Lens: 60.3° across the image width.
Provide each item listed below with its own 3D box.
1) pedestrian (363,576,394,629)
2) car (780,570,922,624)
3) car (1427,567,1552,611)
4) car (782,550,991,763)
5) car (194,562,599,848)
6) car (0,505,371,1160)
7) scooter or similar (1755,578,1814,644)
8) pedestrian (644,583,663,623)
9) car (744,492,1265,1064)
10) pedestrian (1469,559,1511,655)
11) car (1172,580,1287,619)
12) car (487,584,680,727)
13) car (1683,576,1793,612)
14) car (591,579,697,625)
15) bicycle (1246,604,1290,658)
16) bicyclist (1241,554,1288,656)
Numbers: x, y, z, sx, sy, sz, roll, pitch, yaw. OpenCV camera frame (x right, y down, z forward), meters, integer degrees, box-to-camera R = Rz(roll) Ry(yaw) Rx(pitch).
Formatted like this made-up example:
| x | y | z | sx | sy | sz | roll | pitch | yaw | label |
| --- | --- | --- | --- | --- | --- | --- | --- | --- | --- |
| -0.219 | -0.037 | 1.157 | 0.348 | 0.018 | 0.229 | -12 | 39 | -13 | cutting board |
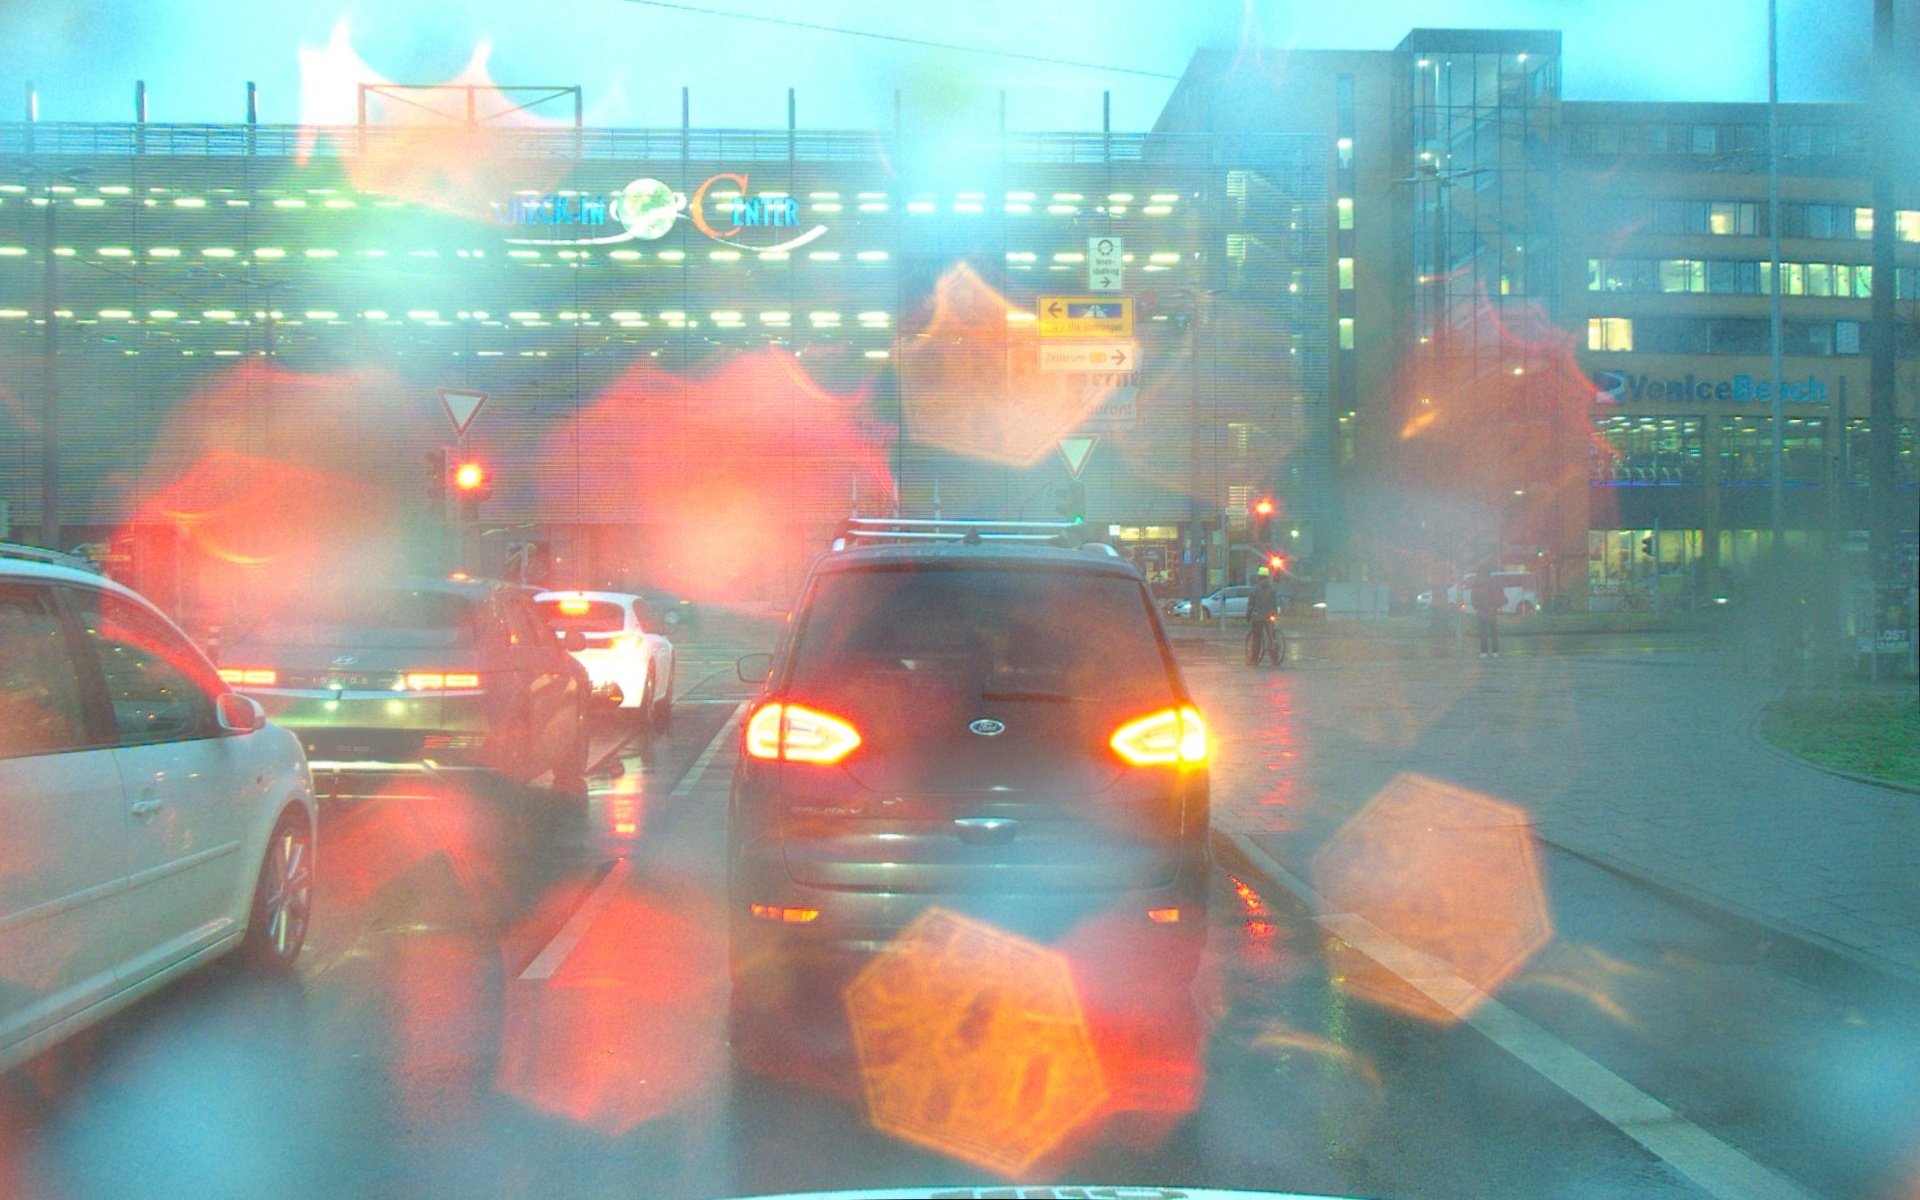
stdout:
| x | y | z | sx | sy | sz | roll | pitch | yaw | label |
| --- | --- | --- | --- | --- | --- | --- | --- | --- | --- |
| -27.349 | 0.120 | 77.830 | 1.087 | 2.482 | 0.966 | 1 | -1 | -2 | pedestrian |
| -4.015 | -0.143 | 60.937 | 4.886 | 1.904 | 1.889 | -1 | 0 | -27 | car |
| 21.596 | -0.456 | 67.524 | 4.553 | 1.706 | 1.782 | -1 | 0 | -10 | car |
| -0.827 | 0.463 | 16.599 | 1.808 | 1.837 | 4.482 | 0 | 1 | -5 | car |
| -3.670 | 0.575 | 11.584 | 1.786 | 1.597 | 4.355 | 0 | 0 | -7 | car |
| -3.266 | 0.575 | 5.058 | 1.638 | 1.627 | 4.220 | 0 | 0 | -4 | car |
| 15.437 | 0.201 | 30.968 | 1.290 | 1.227 | 0.331 | 0 | 0 | -30 | scooter or similar |
| -14.240 | 0.145 | 76.903 | 0.772 | 1.818 | 0.732 | 0 | 0 | -6 | pedestrian |
| 0.107 | 0.565 | 7.343 | 1.640 | 1.810 | 3.999 | 1 | 0 | -1 | car |
| 10.745 | 0.140 | 33.515 | 0.757 | 1.910 | 0.635 | 0 | 0 | 22 | pedestrian |
| 10.807 | -0.018 | 66.467 | 4.245 | 1.512 | 1.863 | -1 | 0 | -7 | car |
| -4.254 | 0.564 | 19.198 | 1.724 | 1.489 | 3.912 | 0 | 0 | -6 | car |
| 33.036 | -0.263 | 70.262 | 4.341 | 1.470 | 1.621 | -1 | 0 | -19 | car |
| -13.362 | 0.071 | 70.127 | 4.276 | 1.904 | 1.902 | -1 | 0 | -7 | car |
| 5.926 | 0.582 | 31.897 | 0.641 | 0.990 | 1.867 | 0 | 0 | 5 | bicycle |
| 5.851 | 0.093 | 31.836 | 0.774 | 1.923 | 0.990 | 0 | 0 | 5 | bicyclist |
